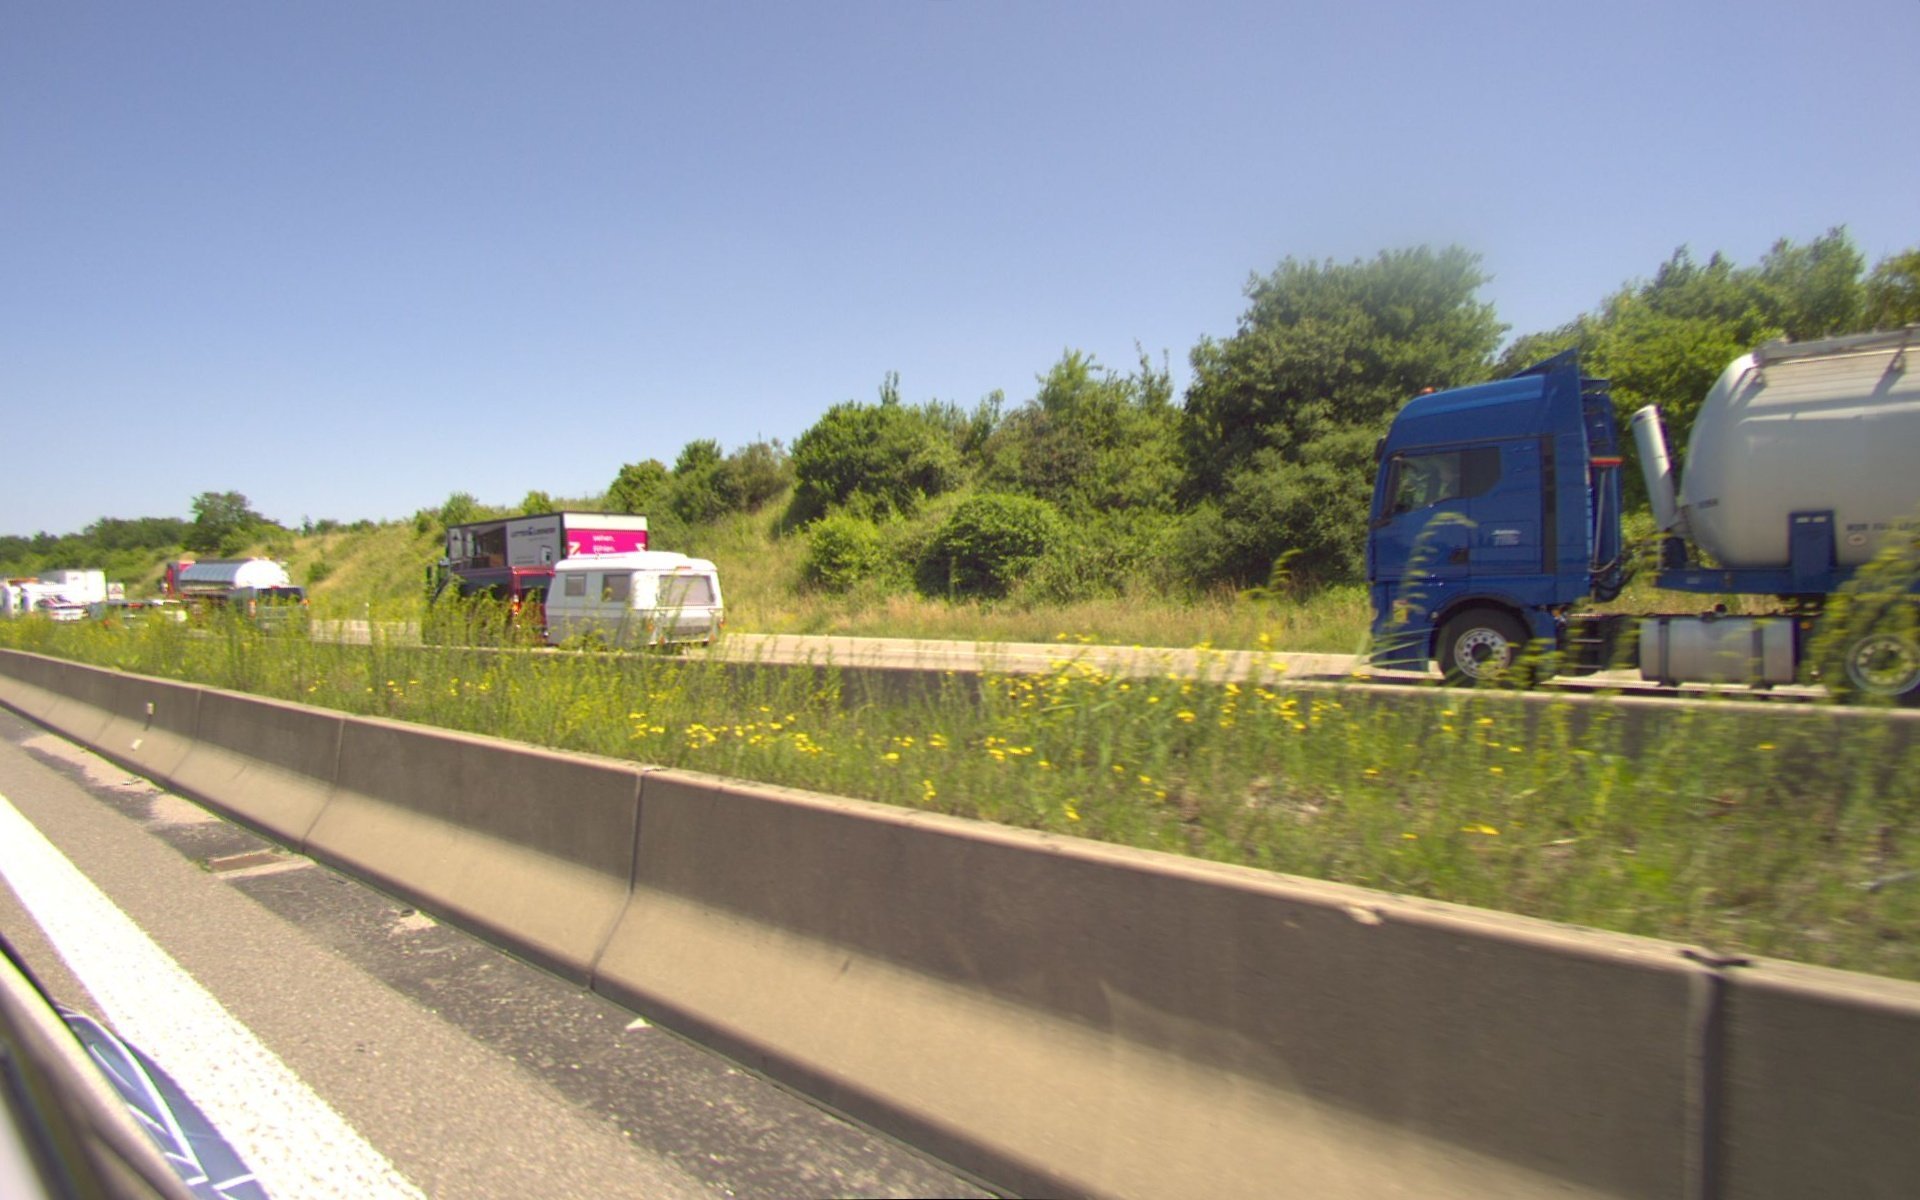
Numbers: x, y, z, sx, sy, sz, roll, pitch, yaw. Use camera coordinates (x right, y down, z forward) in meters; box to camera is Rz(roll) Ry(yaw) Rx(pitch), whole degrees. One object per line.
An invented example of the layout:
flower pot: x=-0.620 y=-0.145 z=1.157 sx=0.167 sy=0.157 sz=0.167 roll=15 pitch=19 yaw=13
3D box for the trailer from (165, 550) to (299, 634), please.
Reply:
trailer: x=-38.062 y=-0.440 z=52.640 sx=12.266 sy=3.979 sz=2.652 roll=0 pitch=2 yaw=40

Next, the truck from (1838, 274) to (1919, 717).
truck: x=14.435 y=-1.031 z=6.988 sx=12.572 sy=4.124 sz=3.541 roll=-1 pitch=0 yaw=41

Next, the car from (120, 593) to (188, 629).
car: x=-37.874 y=0.489 z=47.518 sx=4.187 sy=1.561 sz=1.736 roll=0 pitch=1 yaw=41

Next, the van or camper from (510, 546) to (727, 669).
van or camper: x=-6.903 y=0.113 z=20.218 sx=4.714 sy=2.169 sz=1.973 roll=0 pitch=1 yaw=40

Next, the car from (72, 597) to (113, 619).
car: x=-63.411 y=0.579 z=73.957 sx=3.925 sy=1.508 sz=1.676 roll=0 pitch=2 yaw=41

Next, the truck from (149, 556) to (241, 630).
truck: x=-42.982 y=-0.432 z=56.826 sx=6.029 sy=3.851 sz=2.755 roll=0 pitch=3 yaw=41

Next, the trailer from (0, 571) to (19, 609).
trailer: x=-107.762 y=-1.109 z=112.750 sx=12.244 sy=4.063 sz=2.753 roll=0 pitch=3 yaw=41

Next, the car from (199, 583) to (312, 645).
car: x=-24.608 y=0.441 z=35.265 sx=5.092 sy=1.972 sz=2.003 roll=0 pitch=2 yaw=41

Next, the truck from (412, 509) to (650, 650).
truck: x=-13.324 y=-0.589 z=30.805 sx=9.933 sy=3.702 sz=2.519 roll=0 pitch=2 yaw=41

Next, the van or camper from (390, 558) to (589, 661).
van or camper: x=-11.250 y=0.178 z=23.944 sx=5.951 sy=2.169 sz=1.973 roll=0 pitch=1 yaw=41

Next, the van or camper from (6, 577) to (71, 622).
van or camper: x=-63.908 y=-0.076 z=70.143 sx=8.130 sy=2.958 sz=2.518 roll=0 pitch=2 yaw=43

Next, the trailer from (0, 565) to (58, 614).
trailer: x=-89.219 y=-0.975 z=96.760 sx=11.992 sy=4.342 sz=2.586 roll=0 pitch=3 yaw=40

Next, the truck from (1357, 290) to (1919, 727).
truck: x=8.677 y=-0.946 z=11.964 sx=6.640 sy=4.066 sz=3.455 roll=0 pitch=3 yaw=41

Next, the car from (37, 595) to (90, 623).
car: x=-55.025 y=0.527 z=62.097 sx=4.356 sy=1.639 sz=1.863 roll=0 pitch=2 yaw=41

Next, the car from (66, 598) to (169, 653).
car: x=-27.048 y=0.754 z=32.438 sx=4.852 sy=1.595 sz=1.736 roll=0 pitch=2 yaw=41

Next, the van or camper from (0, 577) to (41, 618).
van or camper: x=-72.766 y=-0.228 z=77.687 sx=7.827 sy=2.958 sz=2.518 roll=0 pitch=2 yaw=43

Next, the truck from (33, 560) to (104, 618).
truck: x=-72.921 y=-0.897 z=82.695 sx=12.415 sy=4.357 sz=2.495 roll=0 pitch=3 yaw=41

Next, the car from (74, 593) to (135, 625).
car: x=-46.044 y=0.474 z=54.430 sx=4.783 sy=1.595 sz=1.736 roll=0 pitch=2 yaw=41
